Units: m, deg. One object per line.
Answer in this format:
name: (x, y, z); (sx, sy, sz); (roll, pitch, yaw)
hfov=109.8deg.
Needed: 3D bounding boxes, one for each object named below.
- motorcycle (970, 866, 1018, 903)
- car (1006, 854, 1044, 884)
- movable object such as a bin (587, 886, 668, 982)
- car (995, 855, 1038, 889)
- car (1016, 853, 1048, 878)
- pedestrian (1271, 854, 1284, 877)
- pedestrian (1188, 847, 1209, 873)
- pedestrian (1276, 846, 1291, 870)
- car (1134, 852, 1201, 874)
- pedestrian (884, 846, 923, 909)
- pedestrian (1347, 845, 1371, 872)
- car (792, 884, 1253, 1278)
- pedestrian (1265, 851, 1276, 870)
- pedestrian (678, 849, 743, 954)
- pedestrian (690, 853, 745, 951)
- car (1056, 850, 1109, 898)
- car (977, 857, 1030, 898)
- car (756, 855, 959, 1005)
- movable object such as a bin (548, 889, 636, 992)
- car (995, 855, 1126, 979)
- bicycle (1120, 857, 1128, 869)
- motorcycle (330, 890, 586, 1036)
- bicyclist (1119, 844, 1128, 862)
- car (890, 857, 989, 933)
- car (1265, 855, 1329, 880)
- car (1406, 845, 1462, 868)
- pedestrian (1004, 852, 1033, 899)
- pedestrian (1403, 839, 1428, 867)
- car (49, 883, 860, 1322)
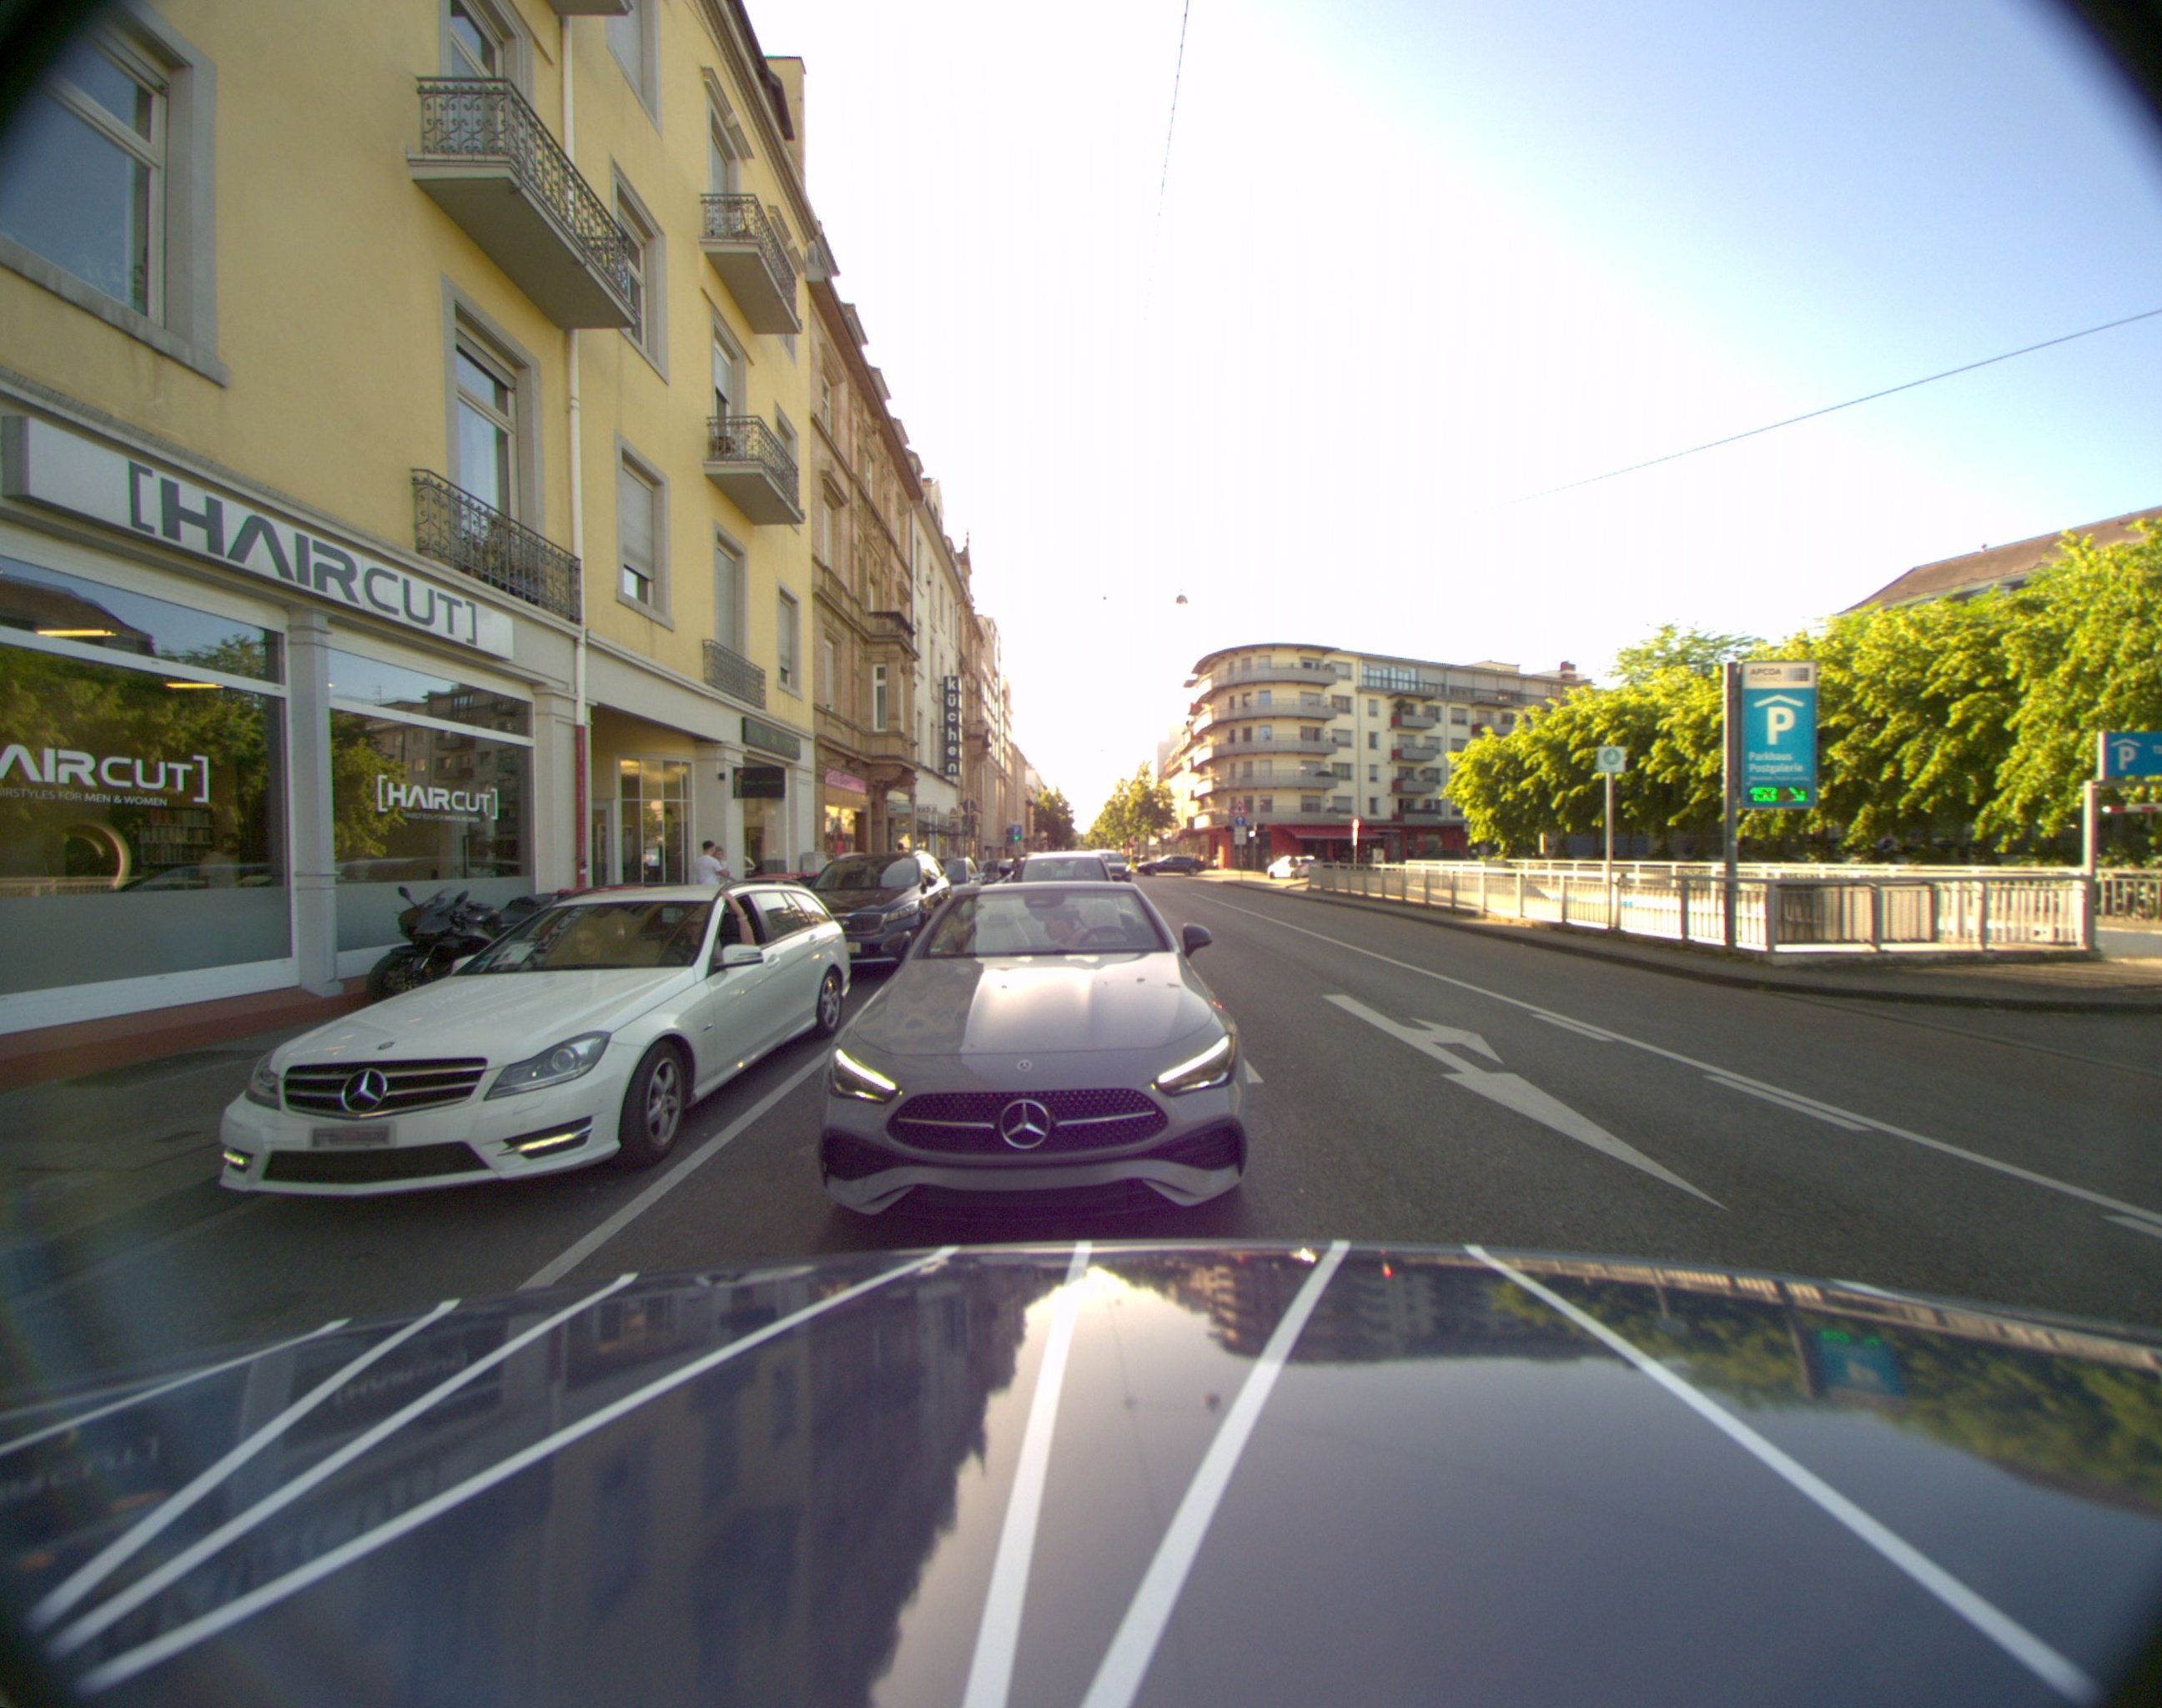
motorcycle: (-3.057, 1.051, 26.823); (0.769, 1.225, 1.546); (-1, 1, 42)
car: (-2.984, 0.768, 41.034); (1.715, 1.477, 3.999); (-1, 0, 0)
movable object such as a bin: (-6.056, 1.054, 10.175); (0.647, 1.200, 0.644); (-1, 1, 1)
car: (-3.051, 0.817, 36.517); (1.715, 1.477, 3.999); (-1, 0, 0)
car: (-3.027, 0.696, 47.629); (1.715, 1.477, 4.062); (-1, 0, 0)
pedestrian: (14.792, 0.885, 57.269); (0.675, 1.696, 0.698); (-2, 1, -14)
pedestrian: (9.205, 0.481, 59.401); (1.202, 2.002, 1.018); (-3, 1, -37)
pedestrian: (15.348, 0.331, 57.569); (0.756, 1.795, 0.755); (-2, 1, -41)
car: (5.926, 0.605, 52.367); (4.288, 1.375, 1.999); (-1, 0, -5)
pedestrian: (-4.609, 0.599, 19.788); (0.795, 1.607, 0.763); (-1, 1, -1)
pedestrian: (21.715, 0.355, 59.324); (1.234, 2.002, 1.259); (-2, 1, -21)
car: (-0.255, 1.015, 5.249); (1.849, 1.371, 4.255); (-2, 0, -1)
pedestrian: (15.049, 0.516, 60.310); (0.791, 1.452, 0.583); (-1, 1, 10)
pedestrian: (-5.874, 0.731, 12.077); (0.642, 1.607, 0.701); (-1, 1, -1)
pedestrian: (-6.167, 0.791, 12.913); (0.572, 1.607, 0.643); (-1, 1, 2)
car: (0.071, 0.737, 30.538); (1.952, 1.742, 4.000); (-1, 0, 1)
car: (-3.061, 0.907, 30.764); (1.715, 1.477, 3.999); (-1, 0, 0)
car: (-3.007, 0.895, 11.314); (1.858, 1.688, 4.697); (-1, 0, -4)
movable object such as a bin: (-6.106, 1.063, 9.523); (0.647, 1.200, 0.644); (-1, 1, 1)
car: (-0.249, 0.854, 12.213); (1.716, 1.599, 4.000); (-1, 0, 1)
bicycle: (4.119, 0.843, 72.412); (0.661, 1.083, 1.971); (-1, 0, 4)
motorcycle: (-6.259, 1.023, 7.861); (0.773, 1.158, 2.247); (1, 0, 1)
bicyclist: (4.033, -0.101, 72.421); (0.757, 1.651, 1.144); (-2, 1, 5)
car: (-3.236, 0.893, 17.911); (1.696, 1.559, 3.018); (-1, 0, 1)
car: (12.951, 0.768, 45.910); (1.804, 1.426, 4.246); (-2, 0, -14)
car: (29.030, 0.198, 62.492); (4.004, 1.740, 1.996); (-2, 1, -23)
pedestrian: (-2.262, 0.769, 27.491); (0.694, 1.657, 0.832); (-2, 1, -31)
pedestrian: (24.120, -0.068, 54.816); (1.317, 2.002, 1.296); (-1, 1, 8)
car: (-3.072, 1.046, 5.230); (1.759, 1.453, 4.597); (-1, 0, 0)
